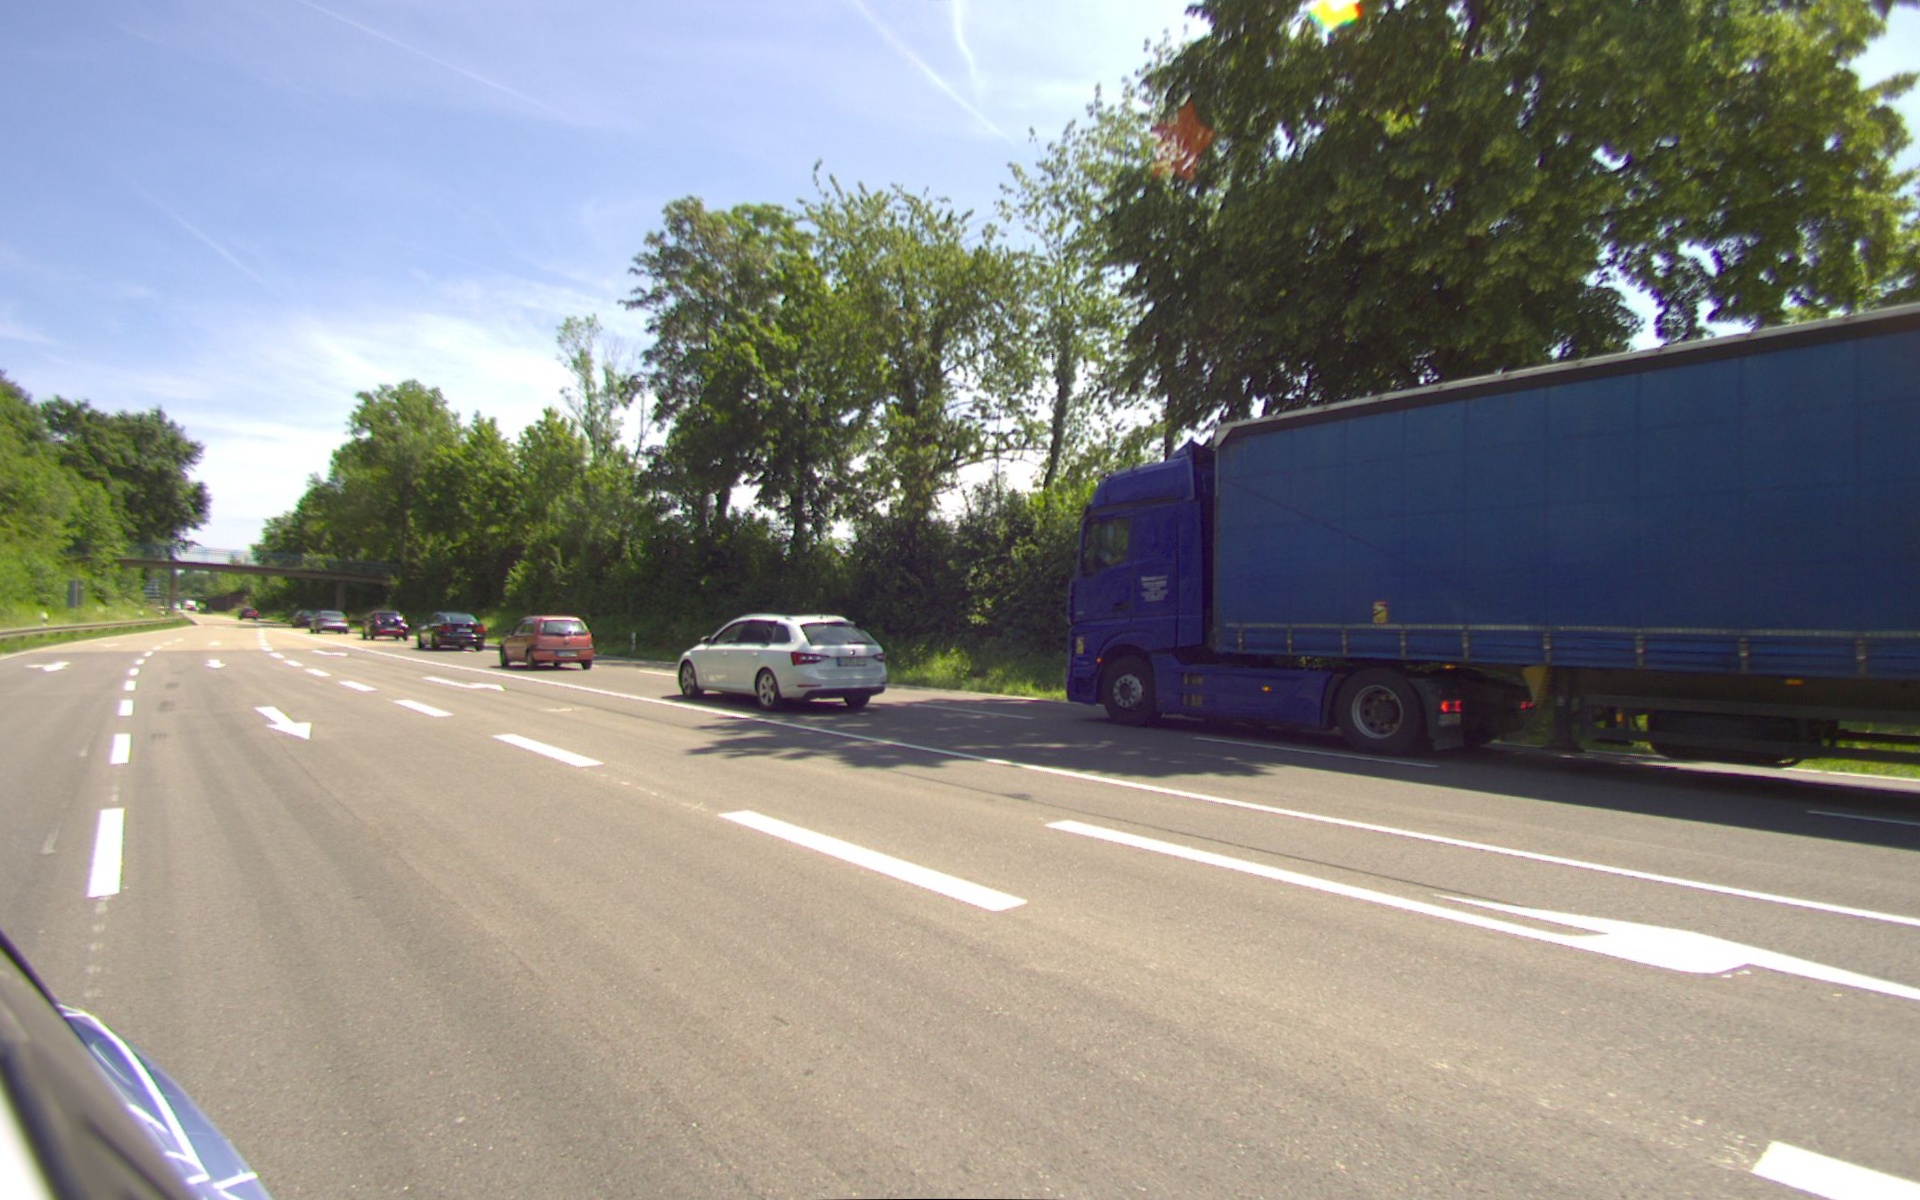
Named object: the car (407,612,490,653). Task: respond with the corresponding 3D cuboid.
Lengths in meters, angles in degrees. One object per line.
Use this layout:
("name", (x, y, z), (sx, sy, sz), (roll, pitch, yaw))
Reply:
("car", (-20.301, 1.310, 40.072), (1.894, 1.492, 4.695), (3, -3, -39))

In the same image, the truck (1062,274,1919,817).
("truck", (7.923, -0.382, 9.539), (2.930, 4.208, 16.603), (2, -2, -39))

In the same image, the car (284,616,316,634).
("car", (-53.697, 2.003, 82.297), (1.744, 1.397, 4.007), (0, 0, -39))

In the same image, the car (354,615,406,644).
("car", (-30.178, 1.516, 52.576), (1.621, 1.449, 4.022), (0, -1, -41))

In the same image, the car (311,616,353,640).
("car", (-39.947, 1.735, 64.325), (1.744, 1.397, 4.007), (0, 0, -39))

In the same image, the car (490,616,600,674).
("car", (-11.281, 1.172, 27.393), (1.744, 1.457, 3.782), (2, -2, -39))

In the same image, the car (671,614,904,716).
("car", (-2.964, 0.964, 16.579), (1.678, 1.425, 4.570), (2, -2, -40))

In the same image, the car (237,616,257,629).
("car", (-87.205, 2.778, 123.722), (1.878, 1.520, 3.772), (2, -2, -37))
